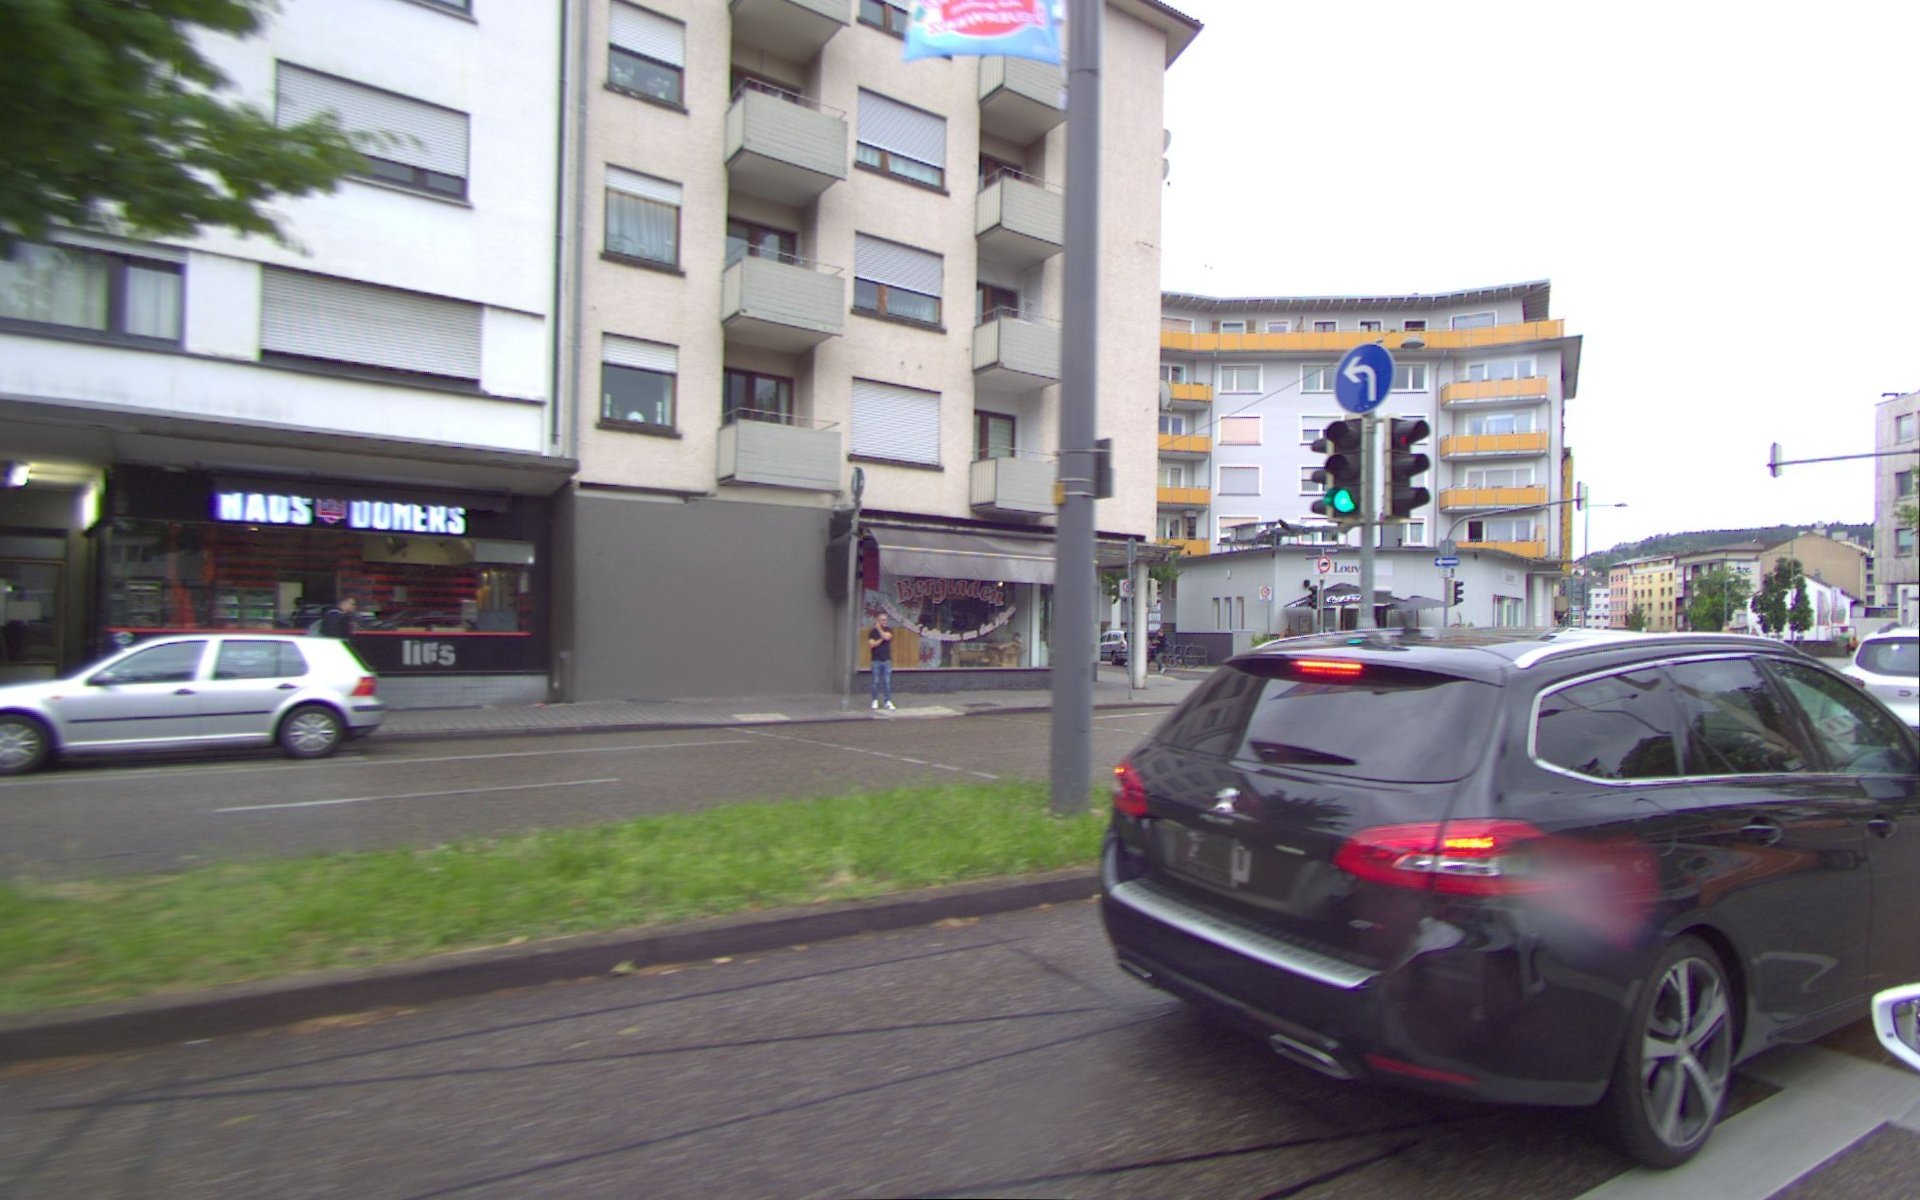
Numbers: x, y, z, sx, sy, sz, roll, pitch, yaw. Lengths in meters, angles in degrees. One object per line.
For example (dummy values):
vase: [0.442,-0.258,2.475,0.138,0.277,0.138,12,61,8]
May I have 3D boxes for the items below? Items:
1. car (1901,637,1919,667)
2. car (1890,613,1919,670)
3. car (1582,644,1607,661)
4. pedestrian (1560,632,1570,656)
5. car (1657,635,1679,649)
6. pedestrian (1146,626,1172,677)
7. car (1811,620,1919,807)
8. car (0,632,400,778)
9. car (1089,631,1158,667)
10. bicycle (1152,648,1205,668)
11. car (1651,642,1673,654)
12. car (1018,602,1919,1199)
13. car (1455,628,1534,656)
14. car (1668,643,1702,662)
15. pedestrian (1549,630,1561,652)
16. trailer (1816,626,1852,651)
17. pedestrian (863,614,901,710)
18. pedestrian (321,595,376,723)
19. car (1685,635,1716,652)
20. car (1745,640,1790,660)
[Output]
car: [47.662,2.549,48.634,1.762,1.421,4.629,1,-2,26]
car: [29.031,1.198,29.714,1.733,1.636,4.196,-1,-2,36]
car: [52.667,4.364,83.411,1.704,1.384,4.102,0,-3,32]
pedestrian: [47.487,3.427,78.848,0.566,1.812,0.825,5,0,31]
car: [81.036,4.782,115.007,1.641,1.415,3.859,0,0,30]
pedestrian: [6.807,1.756,34.359,0.595,1.672,0.525,4,-2,-25]
car: [9.074,0.941,9.099,3.600,1.481,1.524,1,-1,-40]
car: [-8.672,1.088,11.211,4.110,1.410,1.666,1,-3,-35]
car: [7.636,2.263,47.215,1.869,1.630,3.991,0,-2,-12]
bicycle: [9.111,2.403,41.805,2.177,0.819,0.617,1,-1,-21]
car: [90.025,6.165,128.843,1.924,1.415,3.859,0,0,30]
car: [2.538,0.813,4.032,4.347,1.453,1.790,2,-1,-31]
car: [27.887,2.204,52.472,3.569,1.355,1.493,-3,-3,29]
car: [58.019,4.168,80.425,1.707,1.458,4.406,-1,-3,30]
pedestrian: [46.970,3.260,79.283,0.621,1.697,0.907,5,0,30]
trailer: [97.583,4.282,112.223,2.098,2.751,5.377,-3,-3,32]
pedestrian: [-1.470,1.161,18.935,0.518,1.754,0.450,1,3,-30]
pedestrian: [-8.818,0.833,14.499,0.653,1.753,0.773,1,3,-31]
car: [69.373,4.049,94.197,1.639,1.415,3.863,0,0,26]
car: [64.353,3.949,80.099,1.637,1.415,3.867,0,-1,20]
